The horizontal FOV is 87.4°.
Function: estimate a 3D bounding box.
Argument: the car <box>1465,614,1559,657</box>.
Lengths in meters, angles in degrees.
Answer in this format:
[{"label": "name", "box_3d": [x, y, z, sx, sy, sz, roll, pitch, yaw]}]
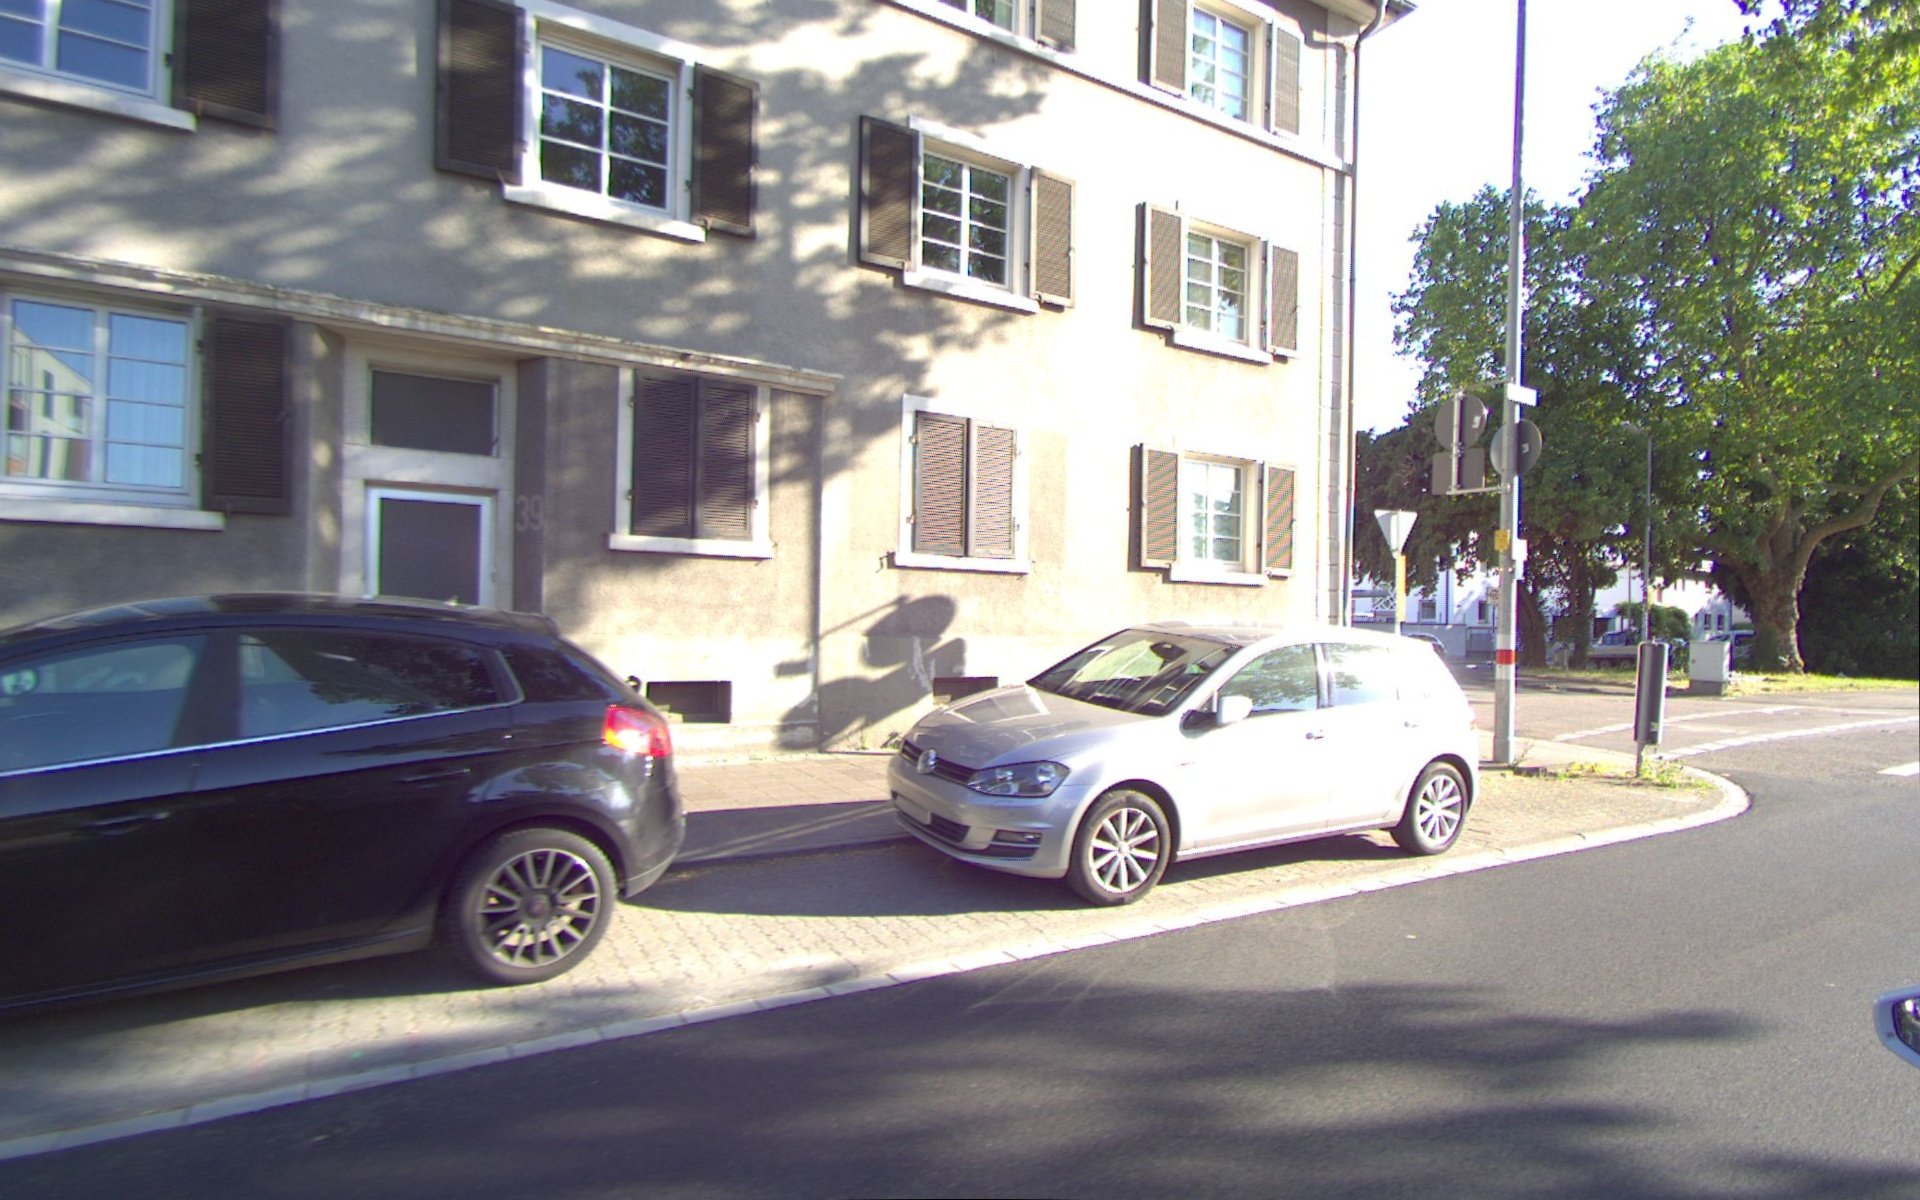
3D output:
[{"label": "car", "box_3d": [31.301, 2.005, 57.051, 1.976, 2.319, 4.295, 2, -2, -30]}]

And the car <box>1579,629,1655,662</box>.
[{"label": "car", "box_3d": [35.658, 2.487, 54.495, 4.129, 1.764, 1.883, 2, -3, -32]}]

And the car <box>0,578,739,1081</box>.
[{"label": "car", "box_3d": [-3.108, 0.707, 3.983, 4.009, 1.527, 1.697, 2, 1, -32]}]

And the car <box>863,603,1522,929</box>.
[{"label": "car", "box_3d": [1.593, 0.842, 6.553, 4.059, 1.503, 1.753, 2, 1, -30]}]

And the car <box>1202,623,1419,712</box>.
[{"label": "car", "box_3d": [6.531, 1.223, 19.204, 1.884, 1.437, 3.985, 3, -2, -18]}]

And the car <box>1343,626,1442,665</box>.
[{"label": "car", "box_3d": [18.804, 1.961, 43.631, 4.310, 1.582, 1.849, 2, -1, -32]}]

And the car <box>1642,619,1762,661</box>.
[{"label": "car", "box_3d": [32.839, 1.734, 44.554, 1.707, 1.706, 3.967, 2, -1, -31]}]
